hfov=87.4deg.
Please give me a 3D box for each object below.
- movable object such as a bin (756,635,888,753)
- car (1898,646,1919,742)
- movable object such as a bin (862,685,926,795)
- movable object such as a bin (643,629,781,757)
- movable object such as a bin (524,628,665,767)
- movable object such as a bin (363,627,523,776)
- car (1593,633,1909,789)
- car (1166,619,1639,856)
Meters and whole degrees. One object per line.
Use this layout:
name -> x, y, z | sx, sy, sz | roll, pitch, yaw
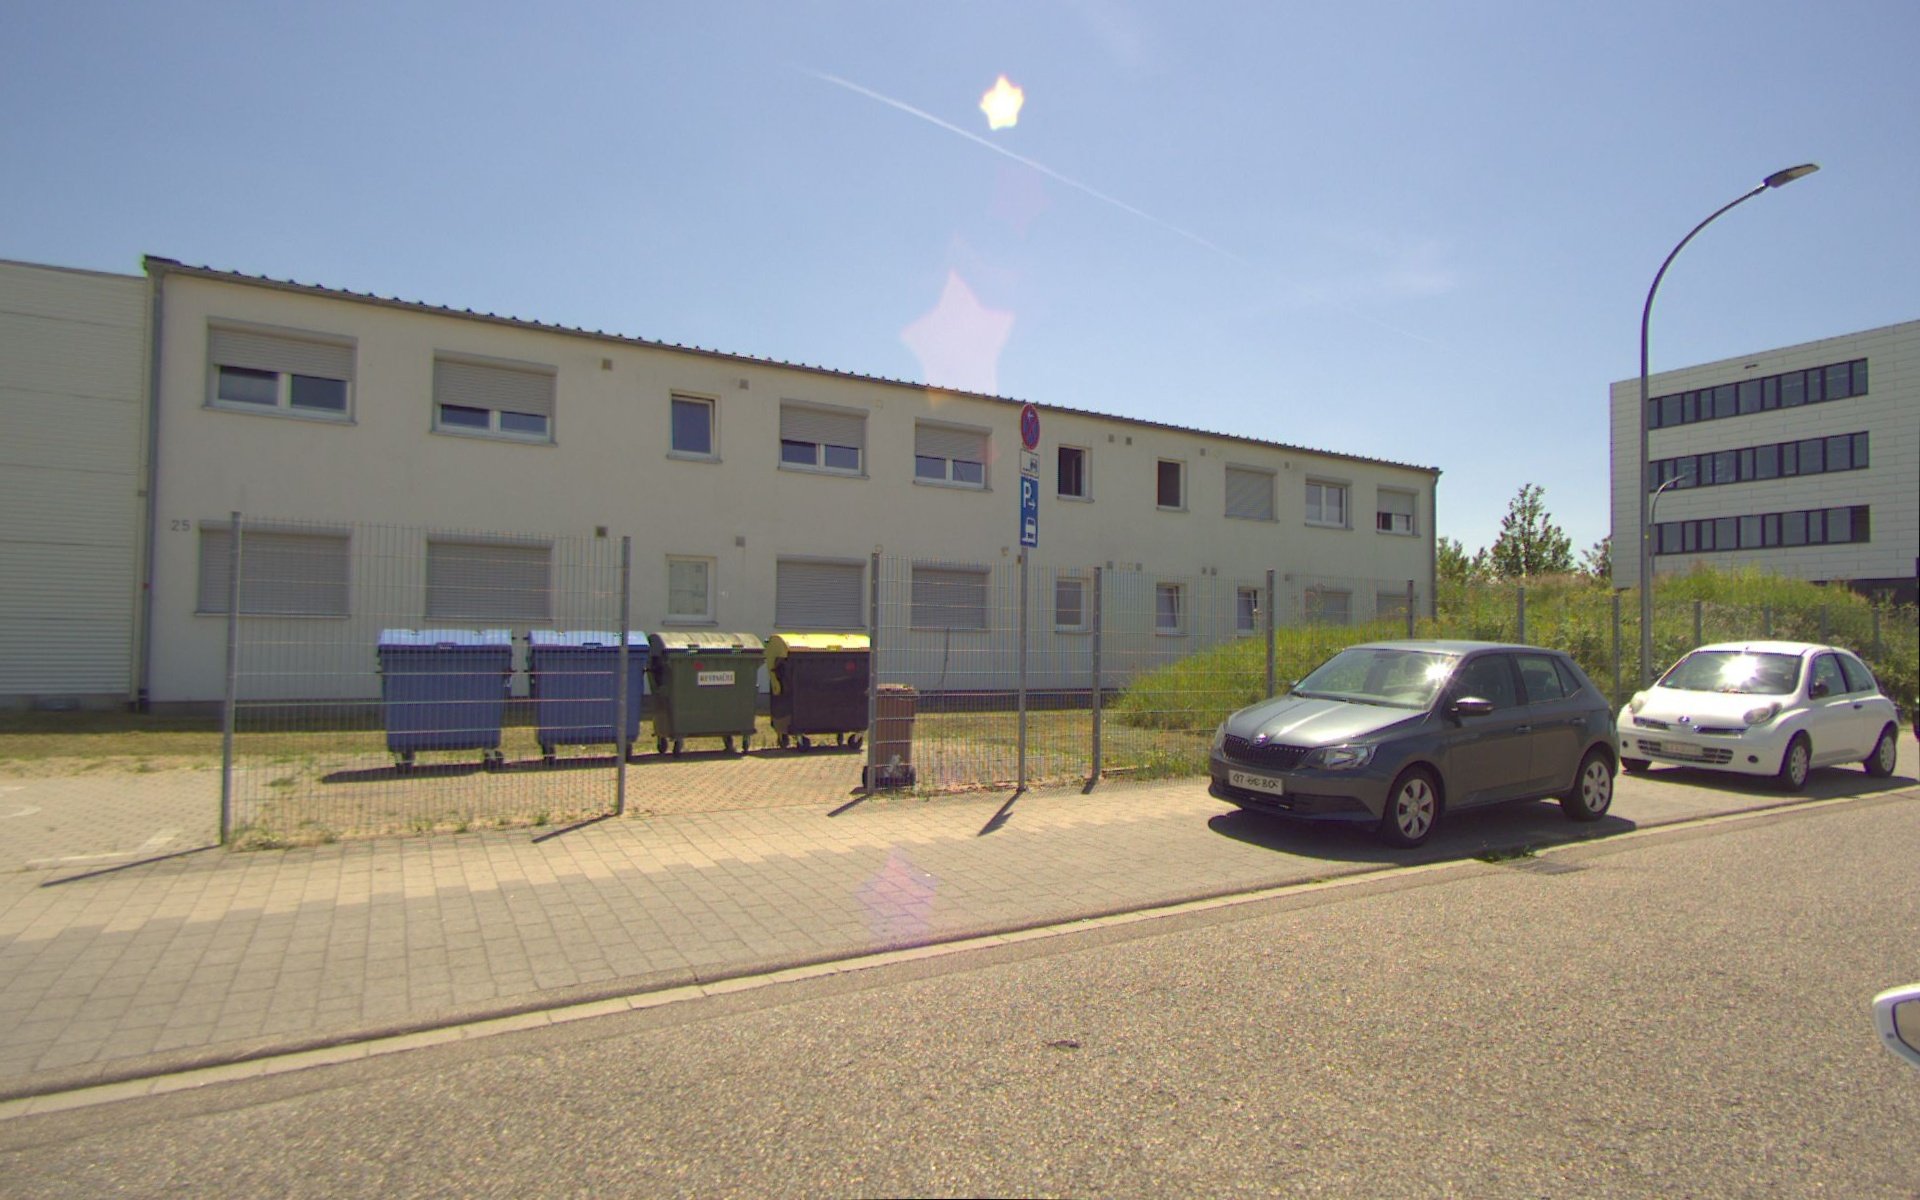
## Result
movable object such as a bin -> -1.803, 1.182, 13.052 | 1.370, 1.423, 1.138 | 2, -2, -28
car -> 16.846, 1.512, 16.038 | 4.022, 1.469, 1.666 | 3, -3, -30
movable object such as a bin -> -0.605, 1.269, 9.200 | 0.490, 0.952, 0.303 | 2, -2, -28
movable object such as a bin -> -3.066, 1.108, 12.401 | 1.373, 1.467, 1.082 | 2, -2, -31
movable object such as a bin -> -4.195, 1.076, 11.497 | 1.354, 1.467, 1.120 | 2, -2, -27
movable object such as a bin -> -5.517, 1.045, 10.785 | 1.416, 1.467, 1.139 | 2, -2, -27
car -> 9.210, 1.196, 11.656 | 3.714, 1.550, 1.666 | 3, -3, -30
car -> 3.747, 0.997, 8.358 | 3.864, 1.550, 1.666 | 3, -2, -30
